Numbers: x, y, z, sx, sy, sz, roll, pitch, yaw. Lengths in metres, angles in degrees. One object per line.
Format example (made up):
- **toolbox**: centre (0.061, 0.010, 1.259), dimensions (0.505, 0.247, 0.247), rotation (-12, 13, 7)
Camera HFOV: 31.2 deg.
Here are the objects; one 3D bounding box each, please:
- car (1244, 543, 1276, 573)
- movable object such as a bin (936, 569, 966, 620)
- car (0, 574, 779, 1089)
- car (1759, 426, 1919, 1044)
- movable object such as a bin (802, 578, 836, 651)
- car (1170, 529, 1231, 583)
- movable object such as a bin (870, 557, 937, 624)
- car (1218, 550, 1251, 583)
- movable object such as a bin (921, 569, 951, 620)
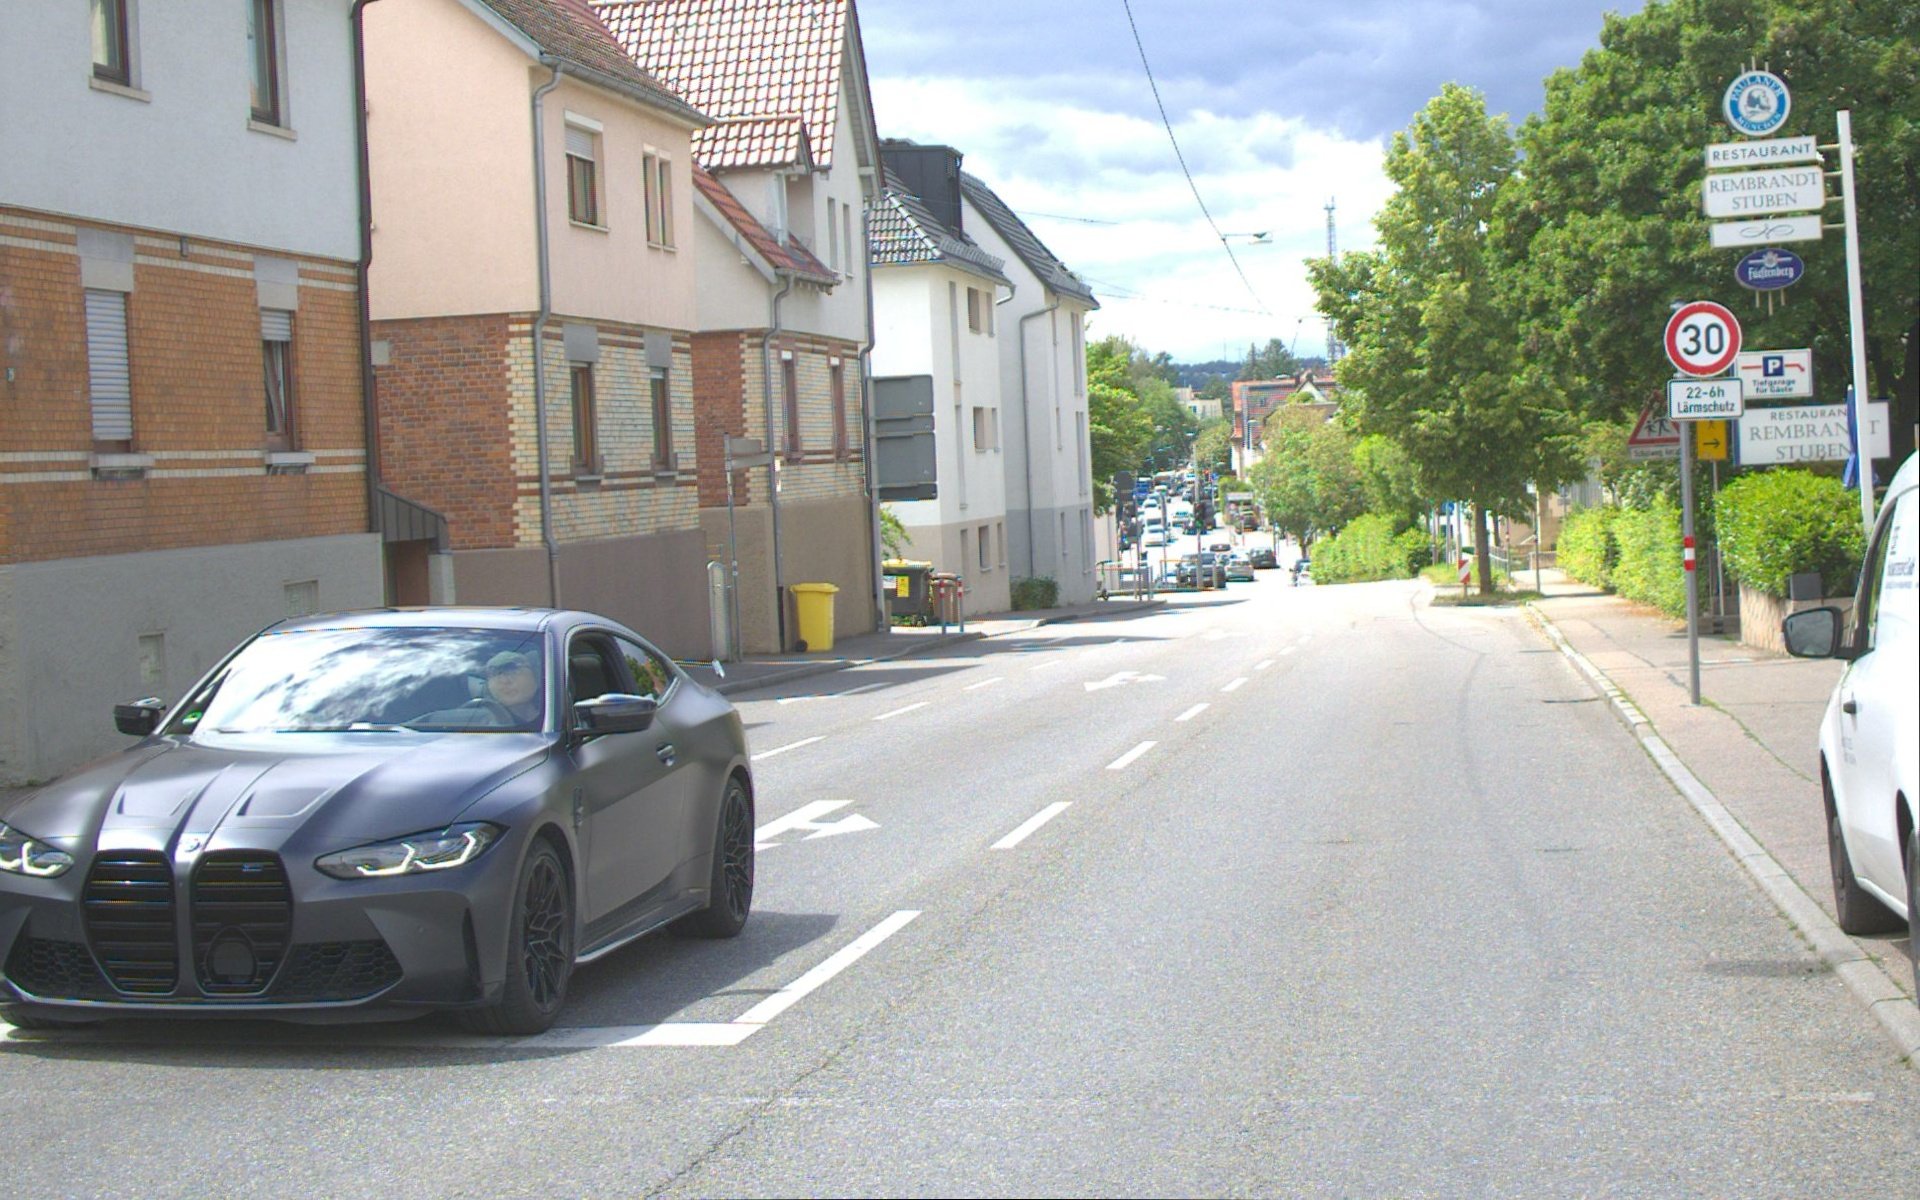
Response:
- **car**: centre (20.821, -2.903, 238.647), dimensions (1.994, 2.007, 3.999), rotation (-3, 0, 4)
- **movable object such as a bin**: centre (-0.191, -0.116, 72.285), dimensions (0.532, 1.026, 0.455), rotation (-2, 1, 7)
- **car**: centre (-2.124, 0.713, 12.889), dimensions (1.994, 1.452, 4.616), rotation (-3, 1, 8)
- **car**: centre (3.875, 0.289, 11.329), dimensions (1.912, 1.788, 4.489), rotation (-6, 0, 9)
- **movable object such as a bin**: centre (-2.236, 0.226, 54.635), dimensions (0.431, 1.124, 0.299), rotation (-3, 1, 7)
- **car**: centre (9.522, -1.747, 136.549), dimensions (1.993, 2.007, 4.000), rotation (-2, 1, -1)
- **movable object such as a bin**: centre (-1.160, -0.202, 70.644), dimensions (1.281, 1.305, 0.816), rotation (-2, 1, 3)
- **car**: centre (17.802, -2.151, 223.375), dimensions (1.994, 2.007, 3.999), rotation (-3, 0, 4)
- **movable object such as a bin**: centre (-0.499, -0.116, 71.620), dimensions (0.532, 1.026, 0.455), rotation (-2, 1, 7)
